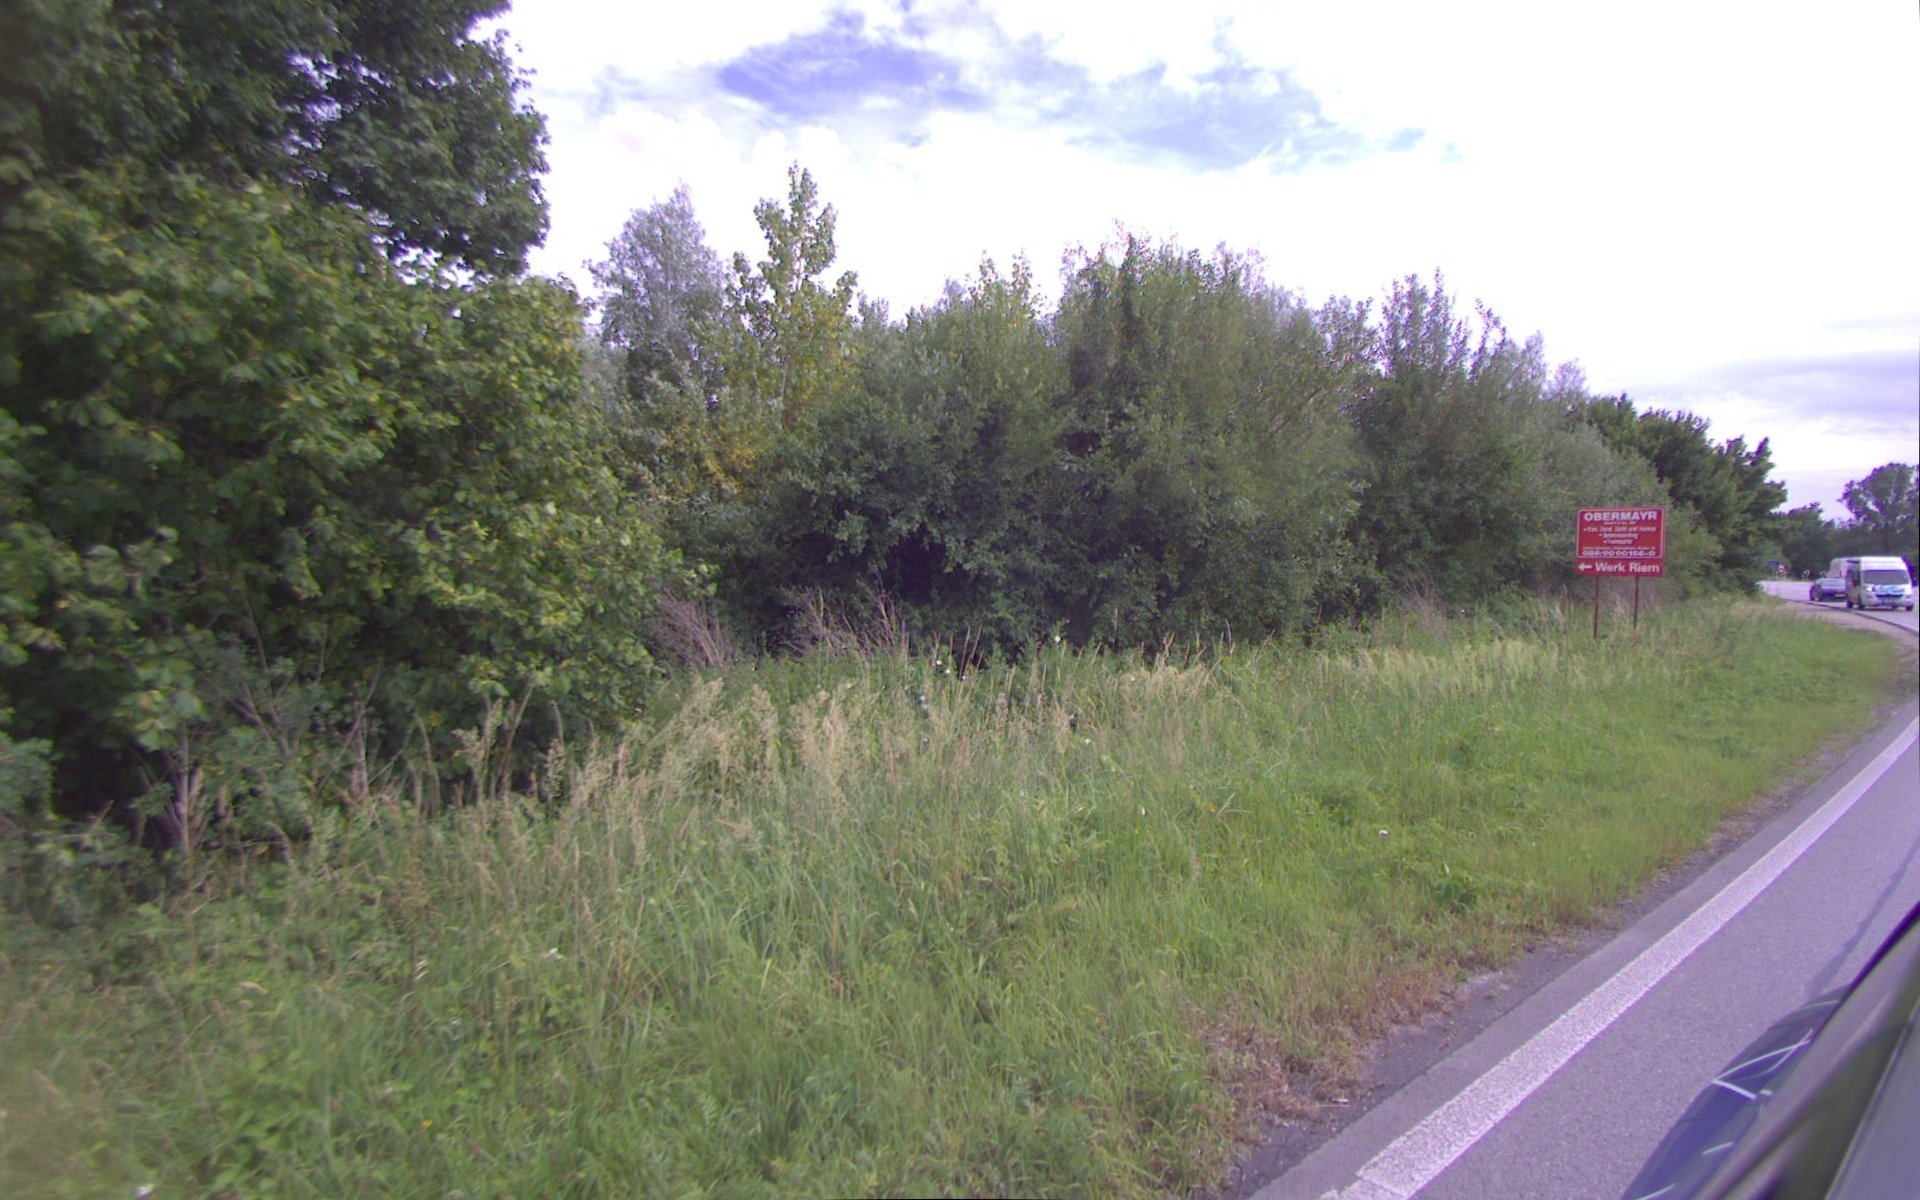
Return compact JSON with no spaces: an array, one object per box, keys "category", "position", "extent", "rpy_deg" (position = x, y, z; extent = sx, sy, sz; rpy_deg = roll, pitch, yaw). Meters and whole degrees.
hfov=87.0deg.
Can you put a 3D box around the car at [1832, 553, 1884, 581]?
[{"category":"car","position":[89.025,-3.277,100.437],"extent":[2.421,2.707,6.817],"rpy_deg":[0,2,30]}]

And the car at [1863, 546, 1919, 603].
[{"category":"car","position":[47.584,-1.286,51.436],"extent":[2.210,2.704,5.165],"rpy_deg":[-2,0,40]}]

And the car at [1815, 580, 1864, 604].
[{"category":"car","position":[55.607,-0.513,64.056],"extent":[1.720,1.381,3.953],"rpy_deg":[2,2,33]}]

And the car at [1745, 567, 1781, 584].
[{"category":"car","position":[69.838,-2.146,88.050],"extent":[1.716,1.381,3.961],"rpy_deg":[2,2,28]}]
